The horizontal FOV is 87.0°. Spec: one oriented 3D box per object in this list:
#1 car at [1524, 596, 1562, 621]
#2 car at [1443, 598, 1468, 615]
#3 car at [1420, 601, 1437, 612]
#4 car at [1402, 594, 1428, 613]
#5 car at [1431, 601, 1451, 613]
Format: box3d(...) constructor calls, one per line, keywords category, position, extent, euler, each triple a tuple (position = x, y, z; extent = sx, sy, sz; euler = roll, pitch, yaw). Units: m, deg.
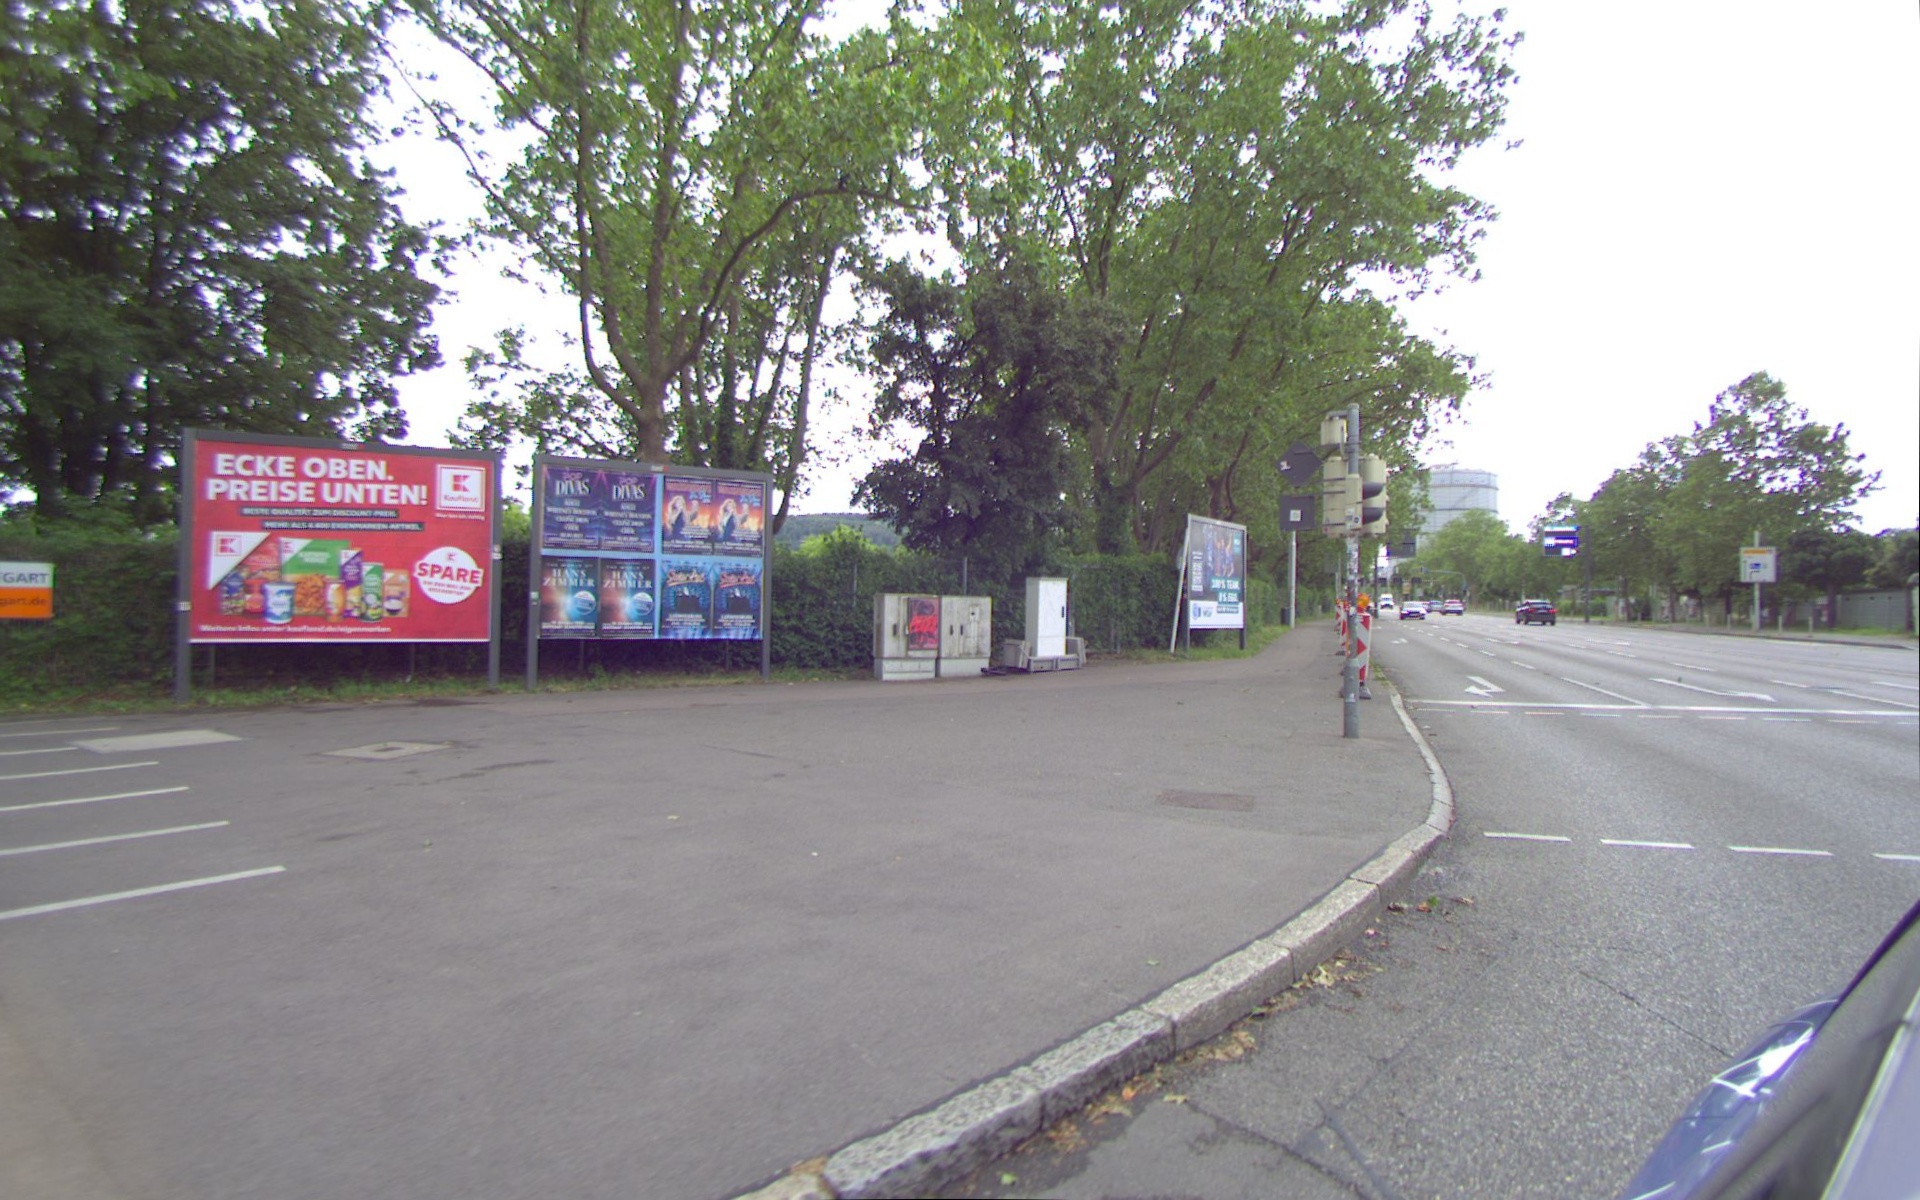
box3d(category="car", position=(38.116, 0.542, 66.224), extent=(1.756, 1.626, 4.390), euler=(0, 0, 25))
box3d(category="car", position=(54.156, 0.711, 110.684), extent=(1.976, 1.767, 4.563), euler=(0, 0, 21))
box3d(category="car", position=(67.231, 0.890, 145.215), extent=(1.976, 1.549, 4.354), euler=(0, 0, 21))
box3d(category="car", position=(38.260, 0.280, 85.098), extent=(1.778, 1.529, 3.971), euler=(0, 0, 21))
box3d(category="car", position=(62.259, 0.923, 131.019), extent=(1.974, 1.544, 3.975), euler=(0, 0, 19))
